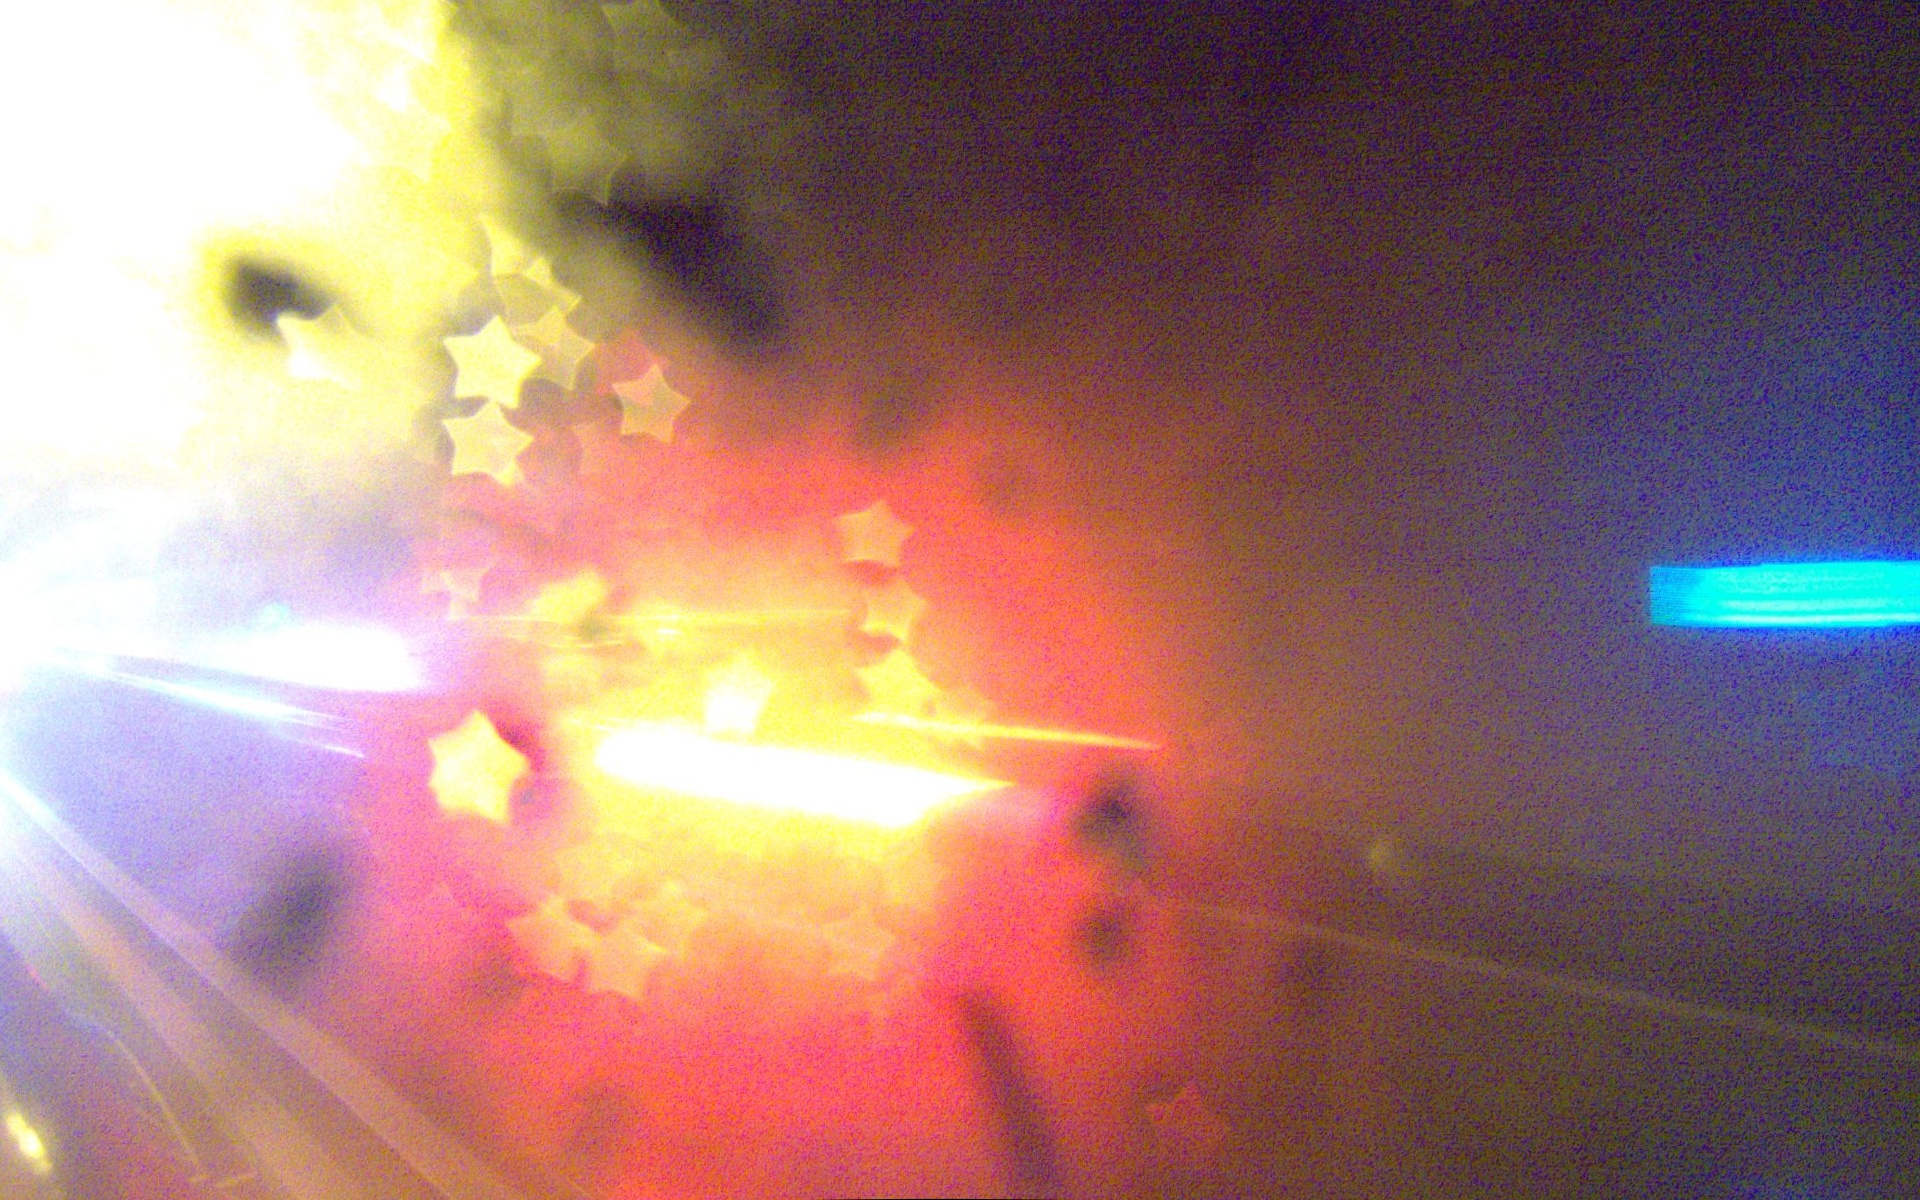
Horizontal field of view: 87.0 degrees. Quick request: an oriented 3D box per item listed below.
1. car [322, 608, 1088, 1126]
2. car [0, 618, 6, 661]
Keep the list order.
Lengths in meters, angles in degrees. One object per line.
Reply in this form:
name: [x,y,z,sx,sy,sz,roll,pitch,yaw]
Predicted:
car: [-1.455,0.817,4.834,3.836,1.504,1.639,-1,-1,40]
car: [-35.861,1.421,36.443,4.199,1.493,1.794,-2,-2,41]
